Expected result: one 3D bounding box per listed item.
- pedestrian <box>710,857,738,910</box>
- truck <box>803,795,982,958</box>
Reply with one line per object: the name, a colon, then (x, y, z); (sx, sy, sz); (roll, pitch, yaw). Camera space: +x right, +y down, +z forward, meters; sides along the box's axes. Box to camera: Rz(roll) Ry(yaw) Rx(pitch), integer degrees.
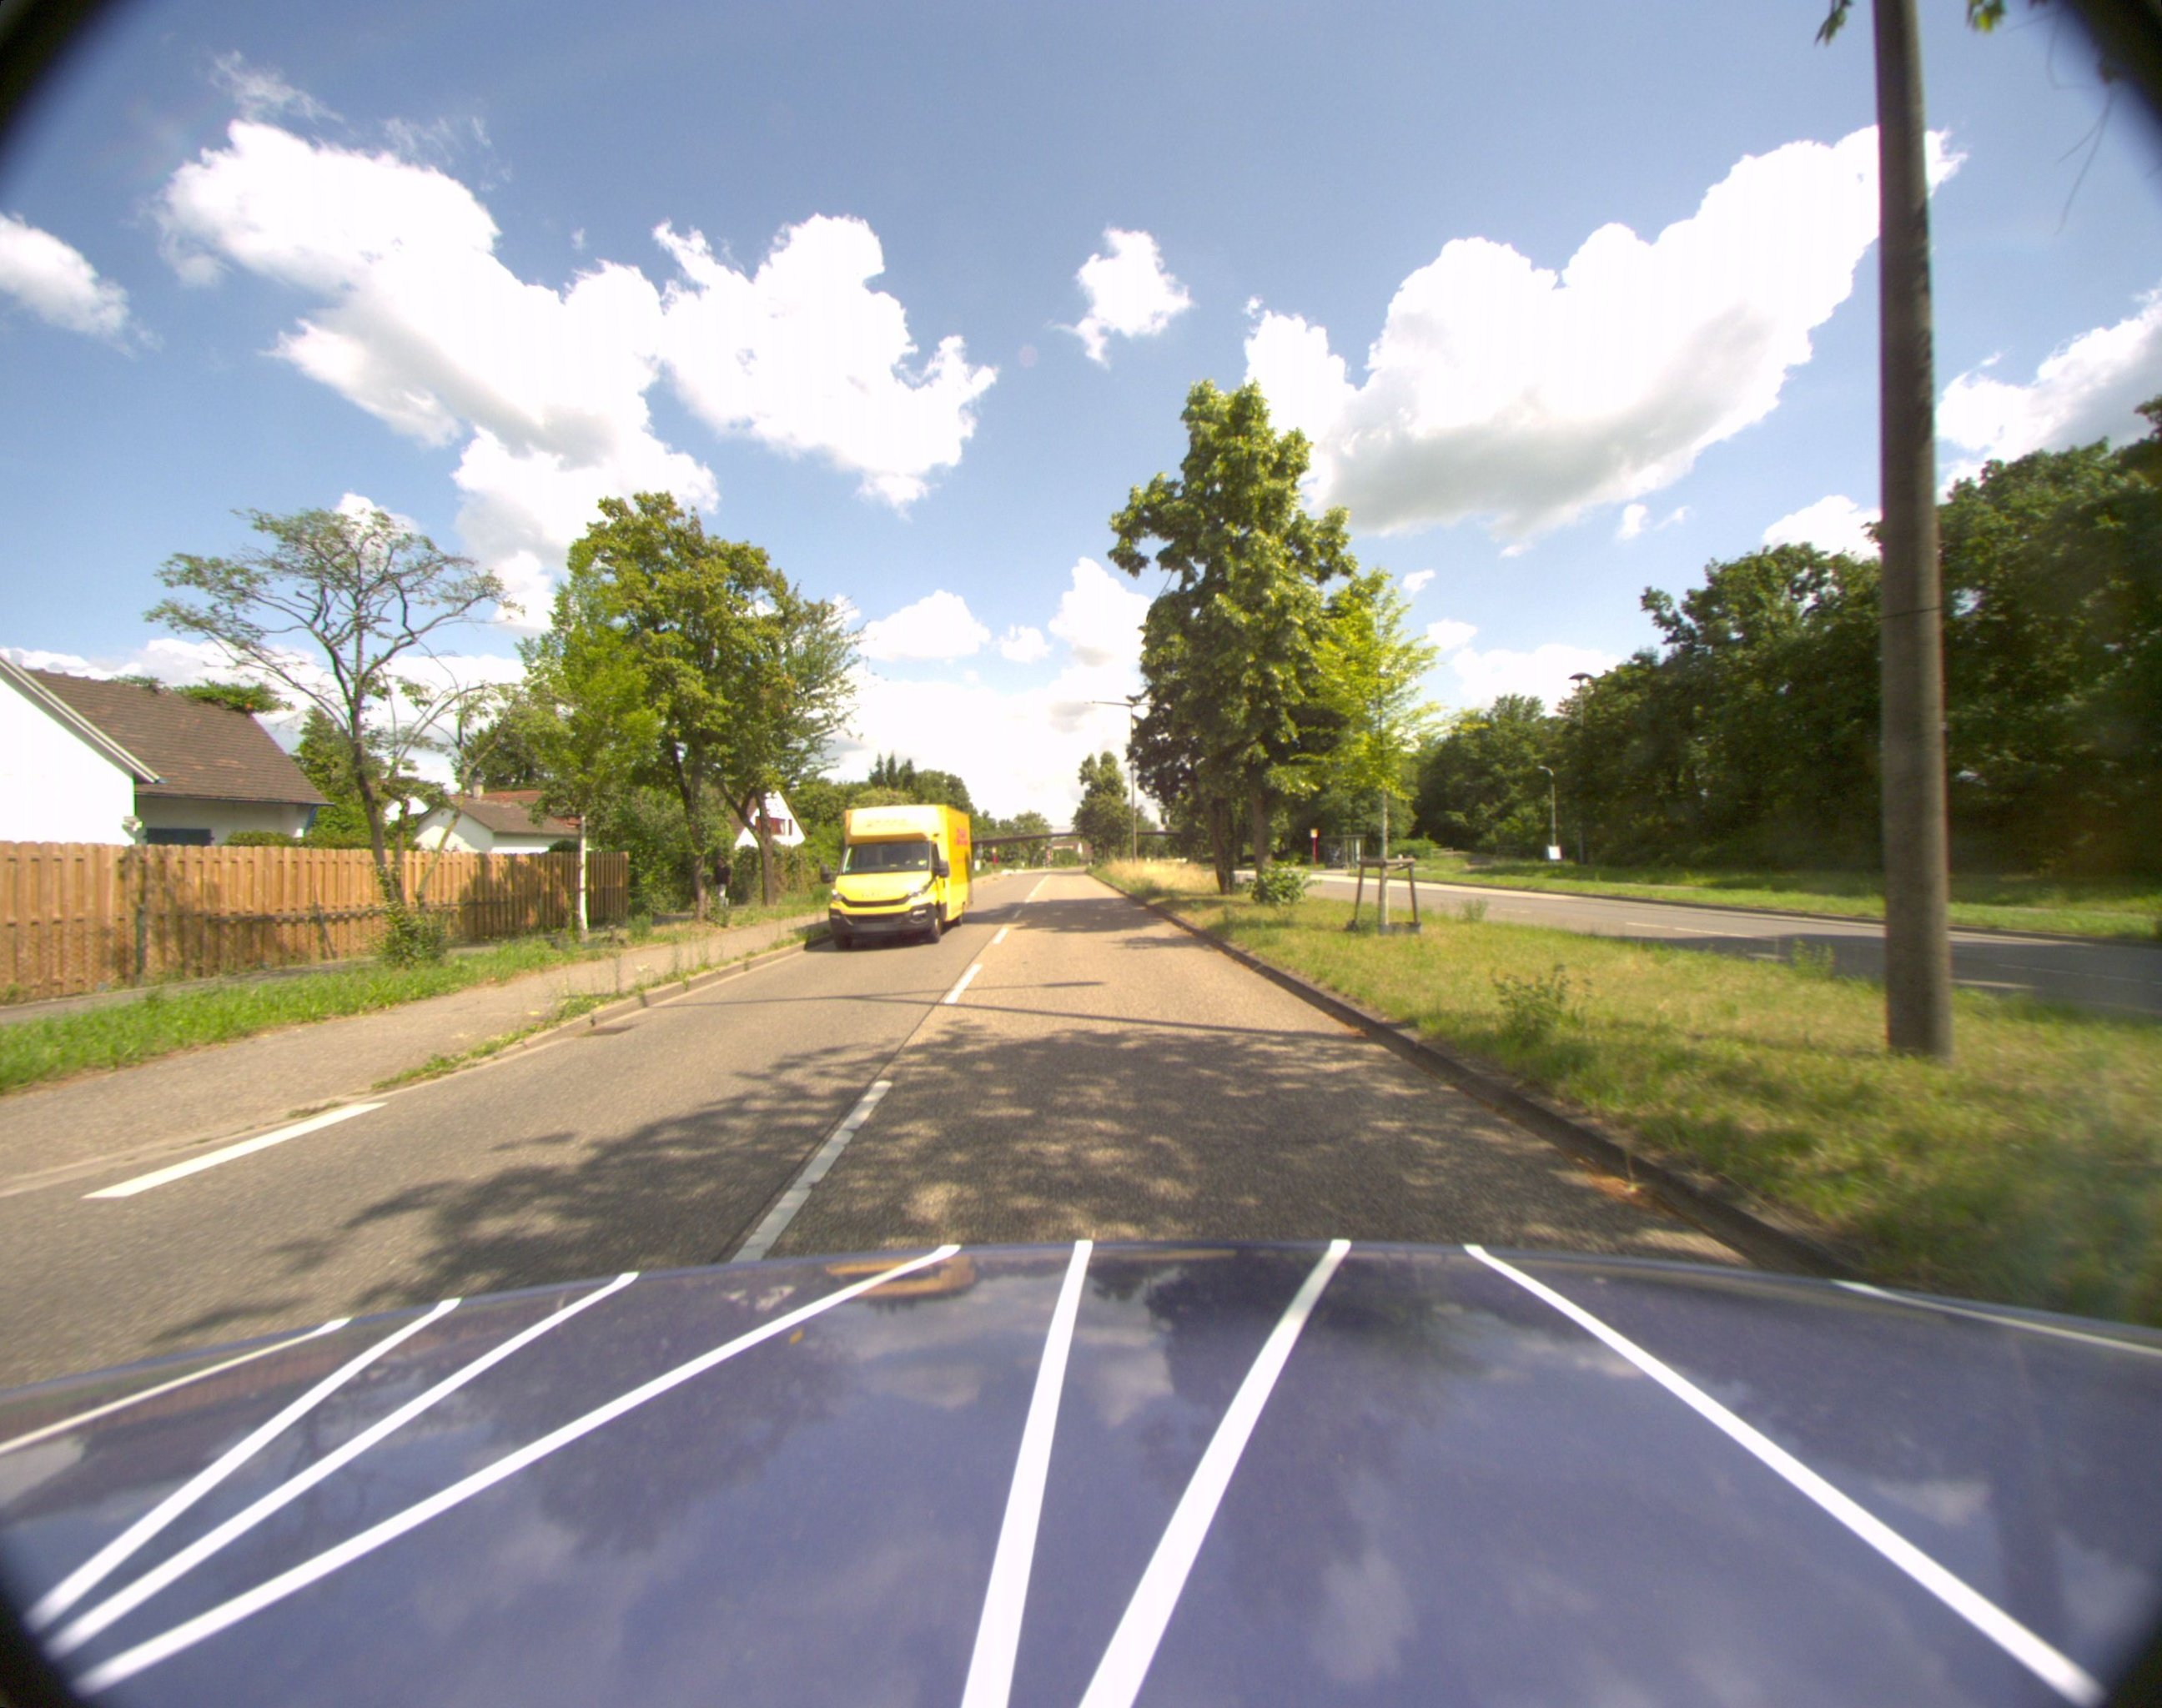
pedestrian: (-11.668, 0.950, 24.842); (0.561, 1.667, 0.634); (-2, 1, -2)
truck: (-3.956, 0.451, 17.879); (2.271, 2.863, 8.027); (-3, -1, -2)
